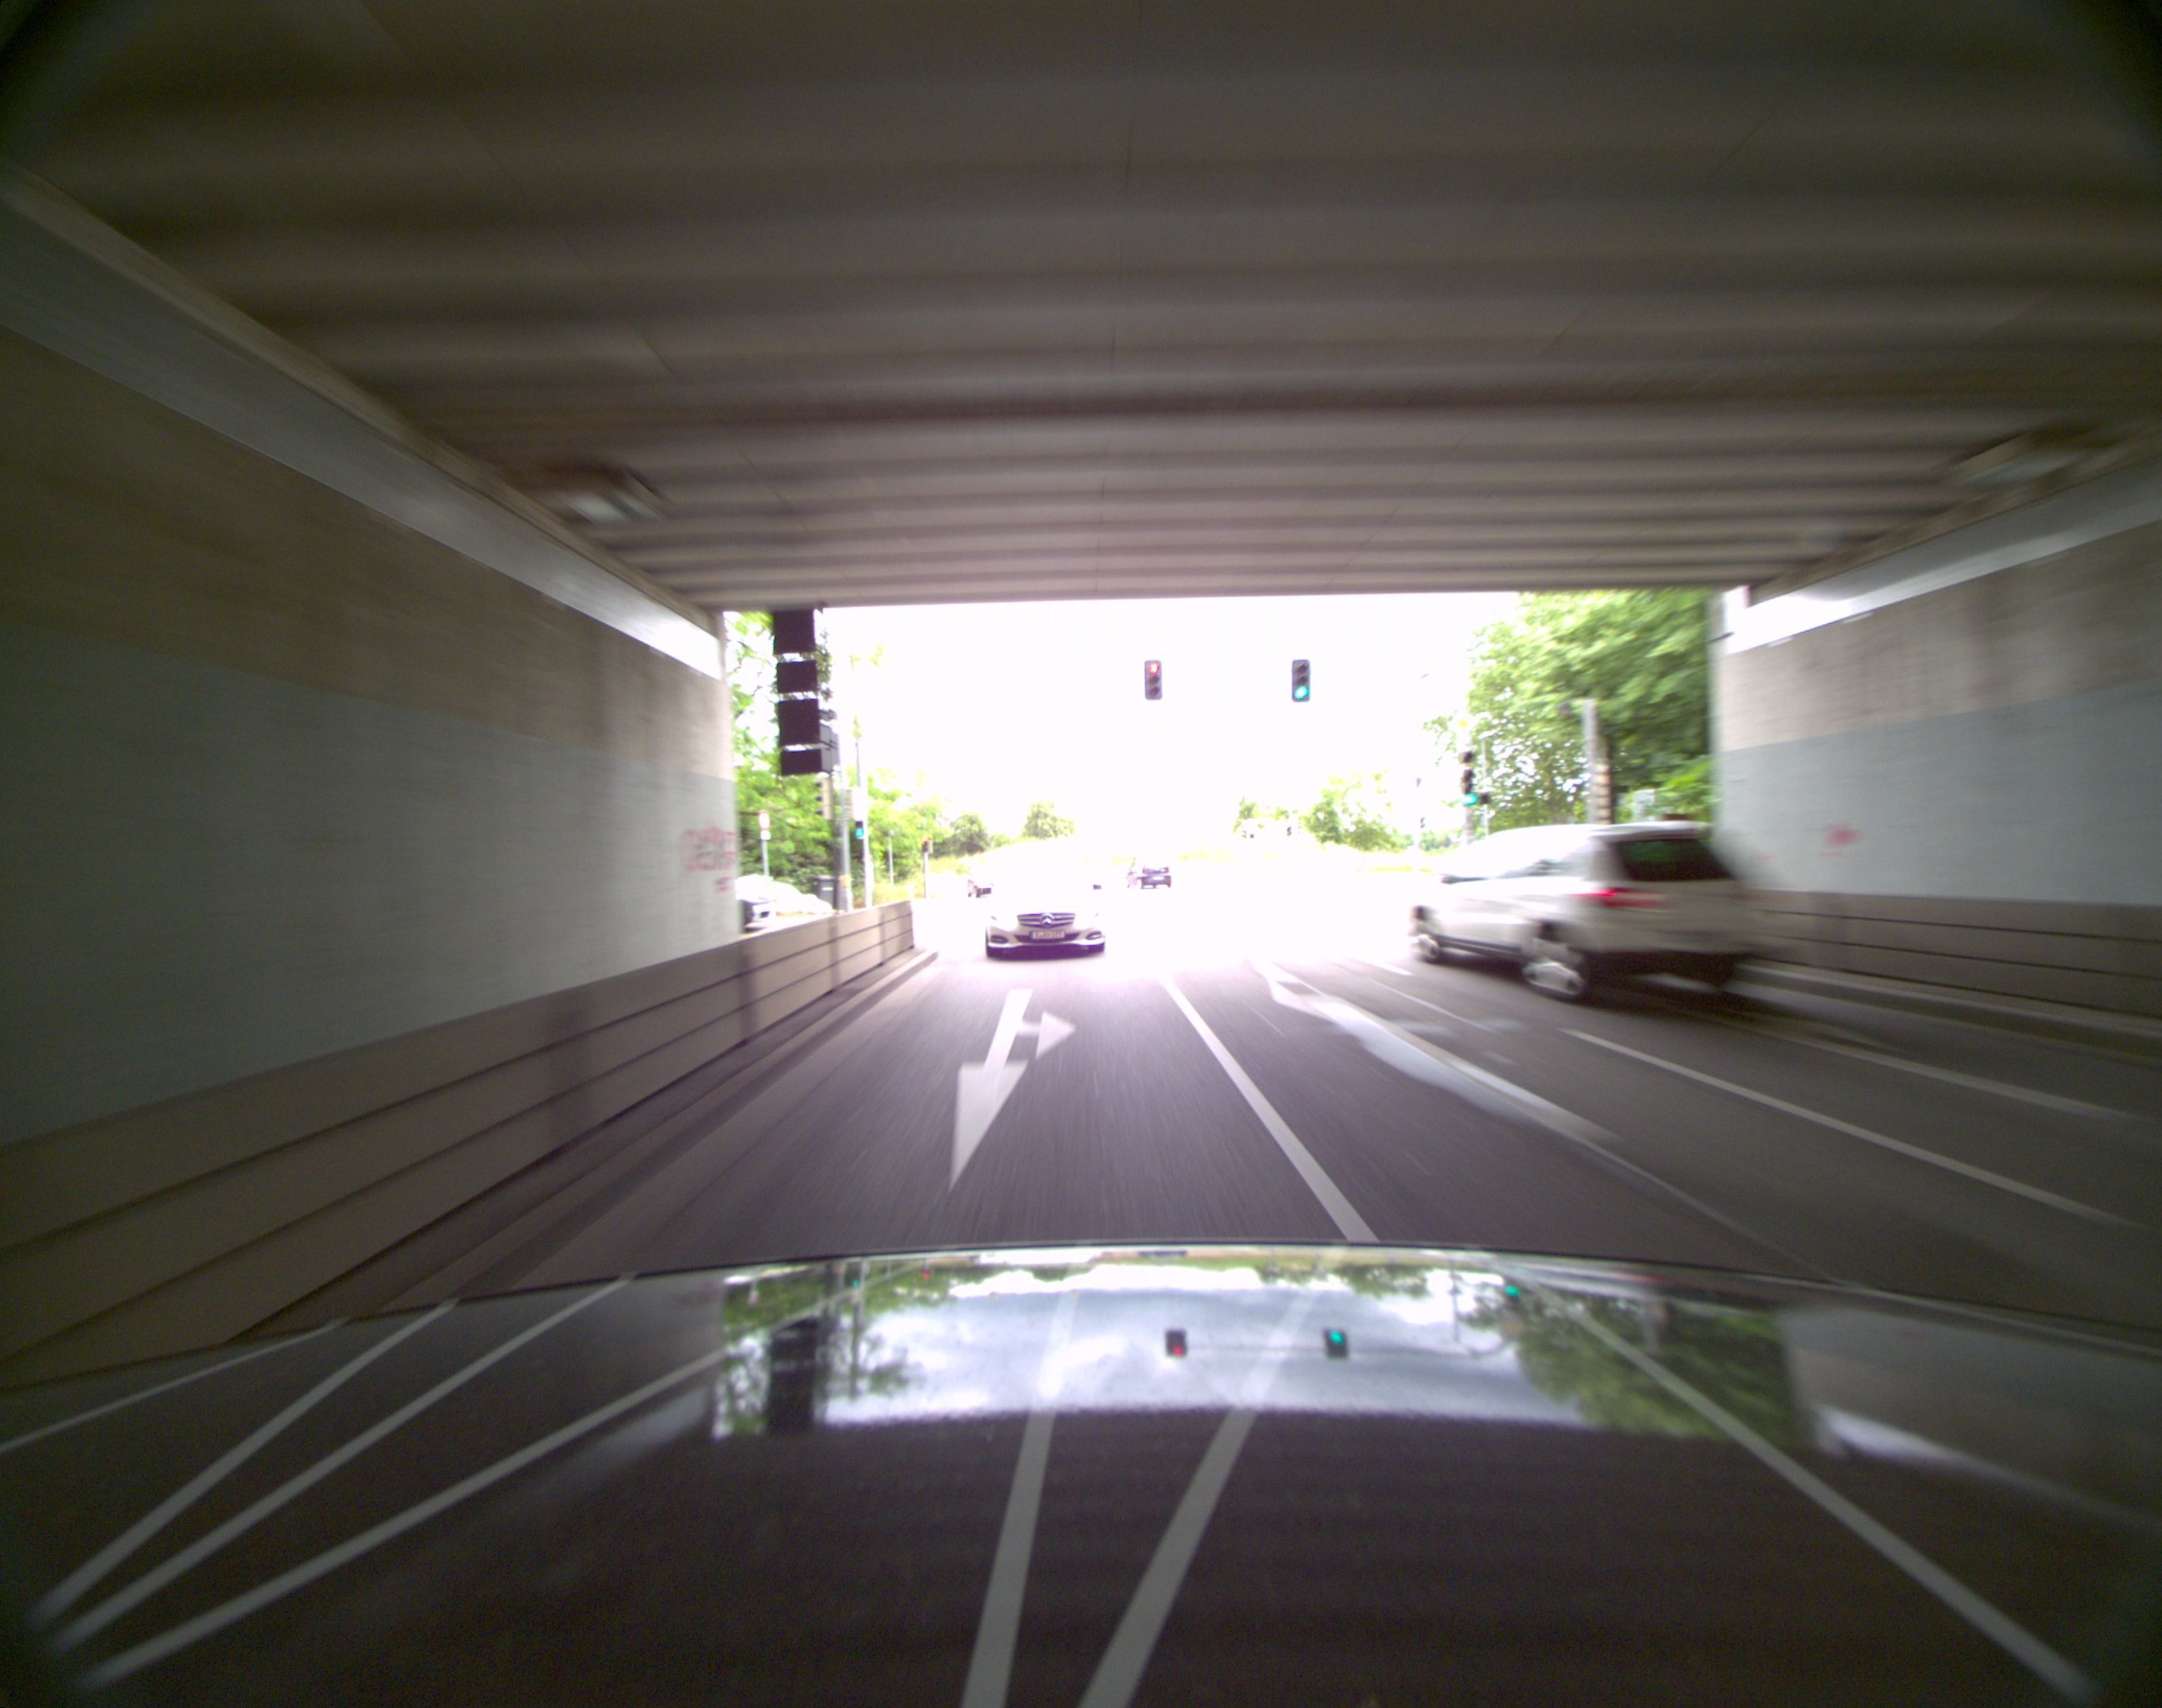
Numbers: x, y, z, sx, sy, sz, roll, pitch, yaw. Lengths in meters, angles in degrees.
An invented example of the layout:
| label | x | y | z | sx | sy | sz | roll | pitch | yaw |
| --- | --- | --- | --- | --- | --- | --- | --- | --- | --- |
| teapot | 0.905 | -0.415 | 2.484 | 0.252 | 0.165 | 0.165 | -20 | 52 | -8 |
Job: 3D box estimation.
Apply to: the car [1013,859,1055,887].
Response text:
| label | x | y | z | sx | sy | sz | roll | pitch | yaw |
| --- | --- | --- | --- | --- | --- | --- | --- | --- | --- |
| car | -2.871 | 1.155 | 45.554 | 1.582 | 1.548 | 3.012 | -3 | -1 | -21 |

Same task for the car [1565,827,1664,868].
| label | x | y | z | sx | sy | sz | roll | pitch | yaw |
| --- | --- | --- | --- | --- | --- | --- | --- | --- | --- |
| car | 26.482 | -0.315 | 37.750 | 4.041 | 1.803 | 1.853 | -3 | 0 | -17 |

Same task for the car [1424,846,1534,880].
| label | x | y | z | sx | sy | sz | roll | pitch | yaw |
| --- | --- | --- | --- | --- | --- | --- | --- | --- | --- |
| car | 18.537 | 0.385 | 35.430 | 4.422 | 1.331 | 1.997 | -2 | 1 | -18 |

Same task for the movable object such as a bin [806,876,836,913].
| label | x | y | z | sx | sy | sz | roll | pitch | yaw |
| --- | --- | --- | --- | --- | --- | --- | --- | --- | --- |
| movable object such as a bin | -7.992 | 1.239 | 23.350 | 0.643 | 1.109 | 0.577 | -3 | 0 | 42 |

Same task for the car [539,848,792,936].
| label | x | y | z | sx | sy | sz | roll | pitch | yaw |
| --- | --- | --- | --- | --- | --- | --- | --- | --- | --- |
| car | -8.933 | 0.799 | 16.662 | 4.494 | 1.774 | 1.825 | 1 | 1 | -6 |

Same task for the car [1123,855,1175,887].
| label | x | y | z | sx | sy | sz | roll | pitch | yaw |
| --- | --- | --- | --- | --- | --- | --- | --- | --- | --- |
| car | 3.329 | 0.798 | 37.899 | 1.729 | 1.401 | 3.997 | -2 | 0 | -7 |

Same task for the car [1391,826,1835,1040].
| label | x | y | z | sx | sy | sz | roll | pitch | yaw |
| --- | --- | --- | --- | --- | --- | --- | --- | --- | --- |
| car | 5.174 | 0.636 | 8.230 | 1.788 | 1.650 | 4.107 | -3 | 0 | -2 |

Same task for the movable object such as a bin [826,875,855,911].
| label | x | y | z | sx | sy | sz | roll | pitch | yaw |
| --- | --- | --- | --- | --- | --- | --- | --- | --- | --- |
| movable object such as a bin | -7.565 | 1.222 | 23.918 | 0.643 | 1.109 | 0.577 | -3 | 0 | 42 |

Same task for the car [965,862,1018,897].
| label | x | y | z | sx | sy | sz | roll | pitch | yaw |
| --- | --- | --- | --- | --- | --- | --- | --- | --- | --- |
| car | -4.484 | 1.271 | 37.660 | 1.825 | 1.535 | 3.721 | -3 | -1 | -18 |

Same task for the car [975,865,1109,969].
| label | x | y | z | sx | sy | sz | roll | pitch | yaw |
| --- | --- | --- | --- | --- | --- | --- | --- | --- | --- |
| car | -0.570 | 0.950 | 13.170 | 1.887 | 1.414 | 4.000 | -3 | -1 | 0 |
